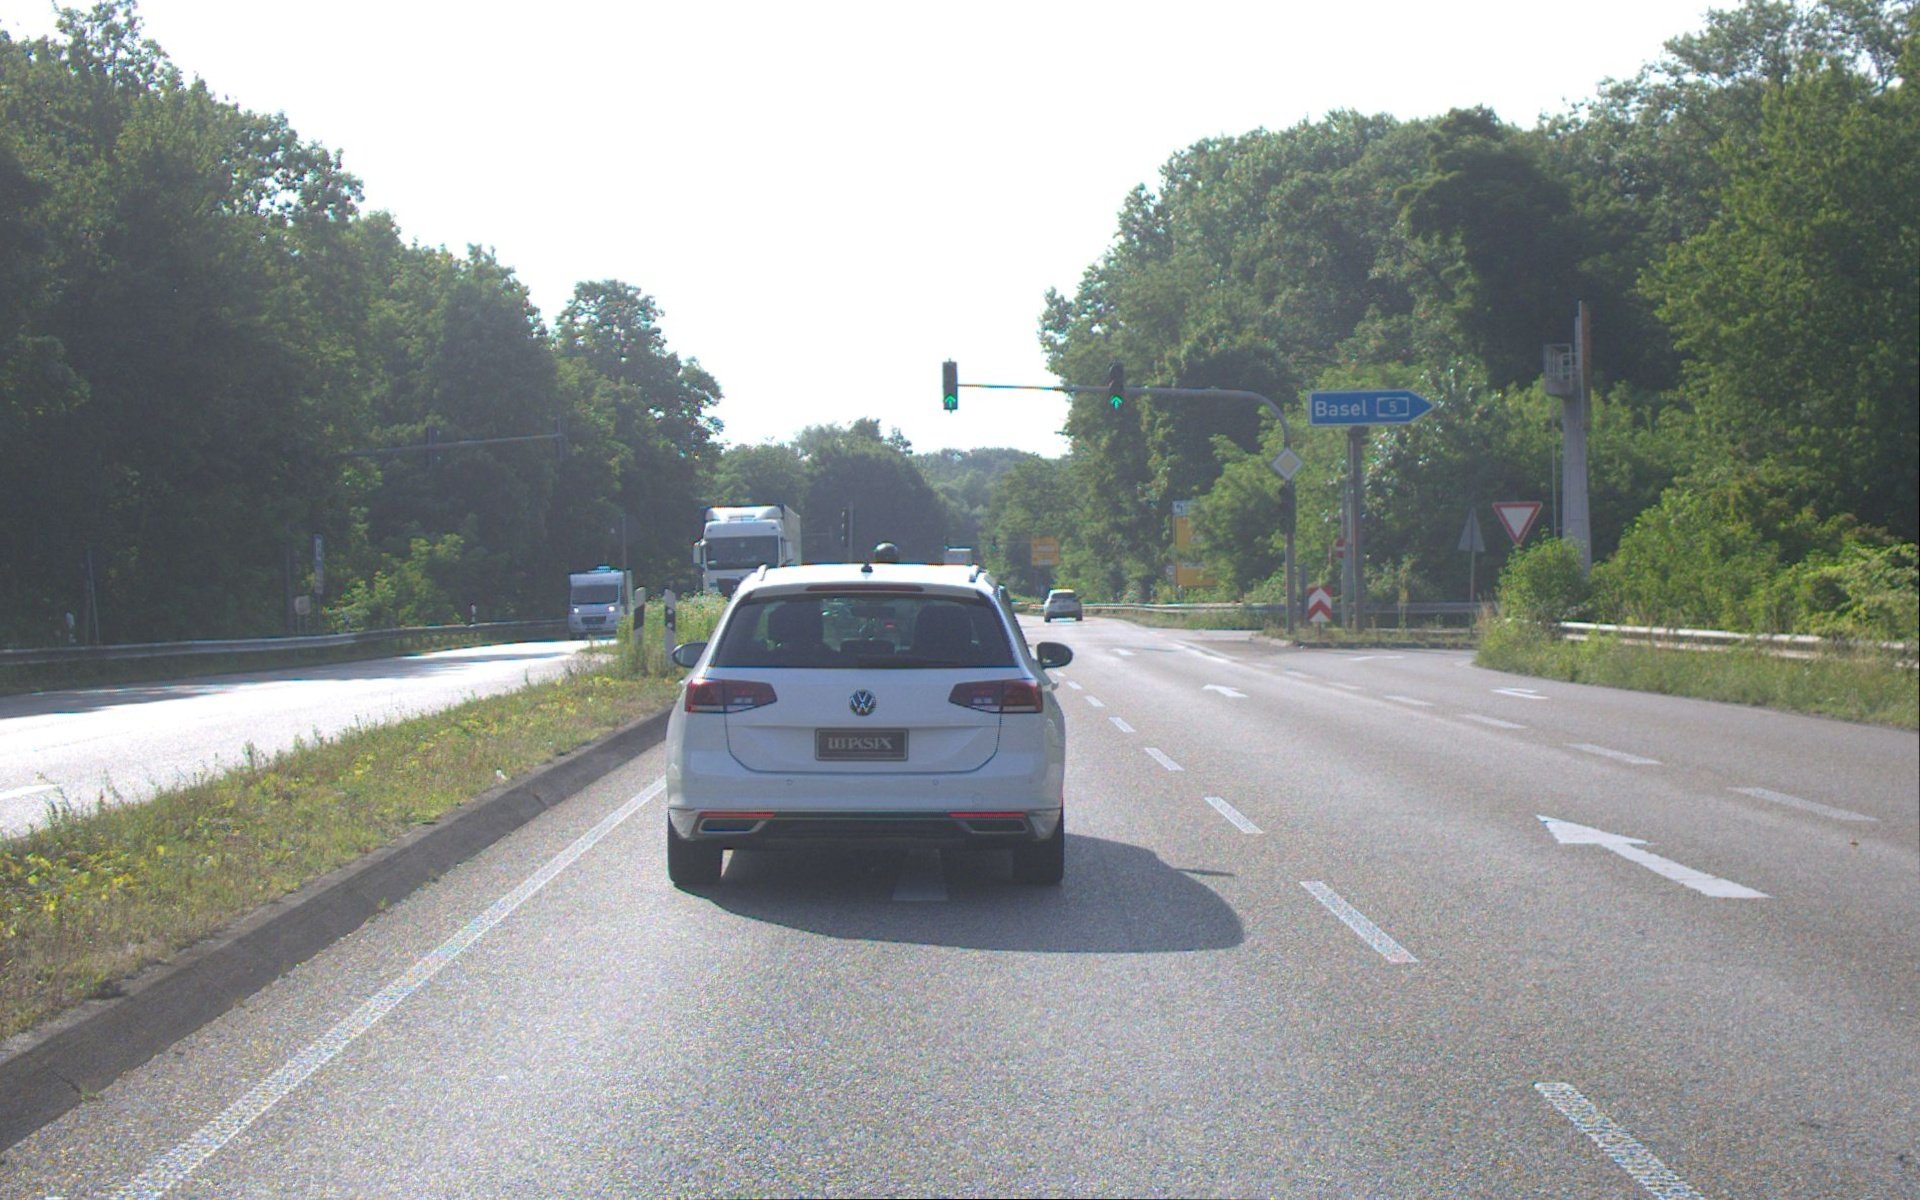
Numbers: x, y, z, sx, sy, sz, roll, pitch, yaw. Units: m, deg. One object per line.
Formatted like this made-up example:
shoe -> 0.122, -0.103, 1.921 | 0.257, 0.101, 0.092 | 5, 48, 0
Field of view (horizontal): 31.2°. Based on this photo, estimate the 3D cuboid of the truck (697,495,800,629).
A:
truck -> -6.476, -1.155, 106.054 | 2.890, 3.984, 6.722 | 1, 0, -1

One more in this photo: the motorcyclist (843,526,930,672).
motorcyclist -> -0.819, -0.013, 38.627 | 0.884, 1.610, 1.290 | 1, 0, 2

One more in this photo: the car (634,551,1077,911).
car -> -0.419, 0.542, 16.922 | 1.870, 1.516, 4.834 | 0, 0, 1

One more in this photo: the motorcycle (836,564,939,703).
motorcycle -> -0.795, 0.348, 38.523 | 0.909, 1.448, 2.688 | -4, 0, 2

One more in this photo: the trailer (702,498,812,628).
trailer -> -6.609, -1.181, 113.872 | 2.991, 3.982, 14.014 | 1, 0, -1

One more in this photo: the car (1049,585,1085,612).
car -> 5.495, -0.083, 177.091 | 1.761, 1.375, 3.971 | 0, 0, 1

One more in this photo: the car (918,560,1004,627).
car -> 0.038, -0.139, 73.547 | 1.761, 1.375, 3.971 | 0, 0, 1

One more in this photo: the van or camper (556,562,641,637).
van or camper -> -13.996, -0.040, 133.473 | 2.413, 2.701, 6.437 | -3, 0, 0

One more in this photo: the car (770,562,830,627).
car -> -6.502, -0.229, 140.335 | 2.075, 2.525, 6.164 | -2, 0, 0

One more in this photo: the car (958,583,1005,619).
car -> 0.842, 0.038, 132.519 | 1.761, 1.375, 3.971 | 0, 0, 1
